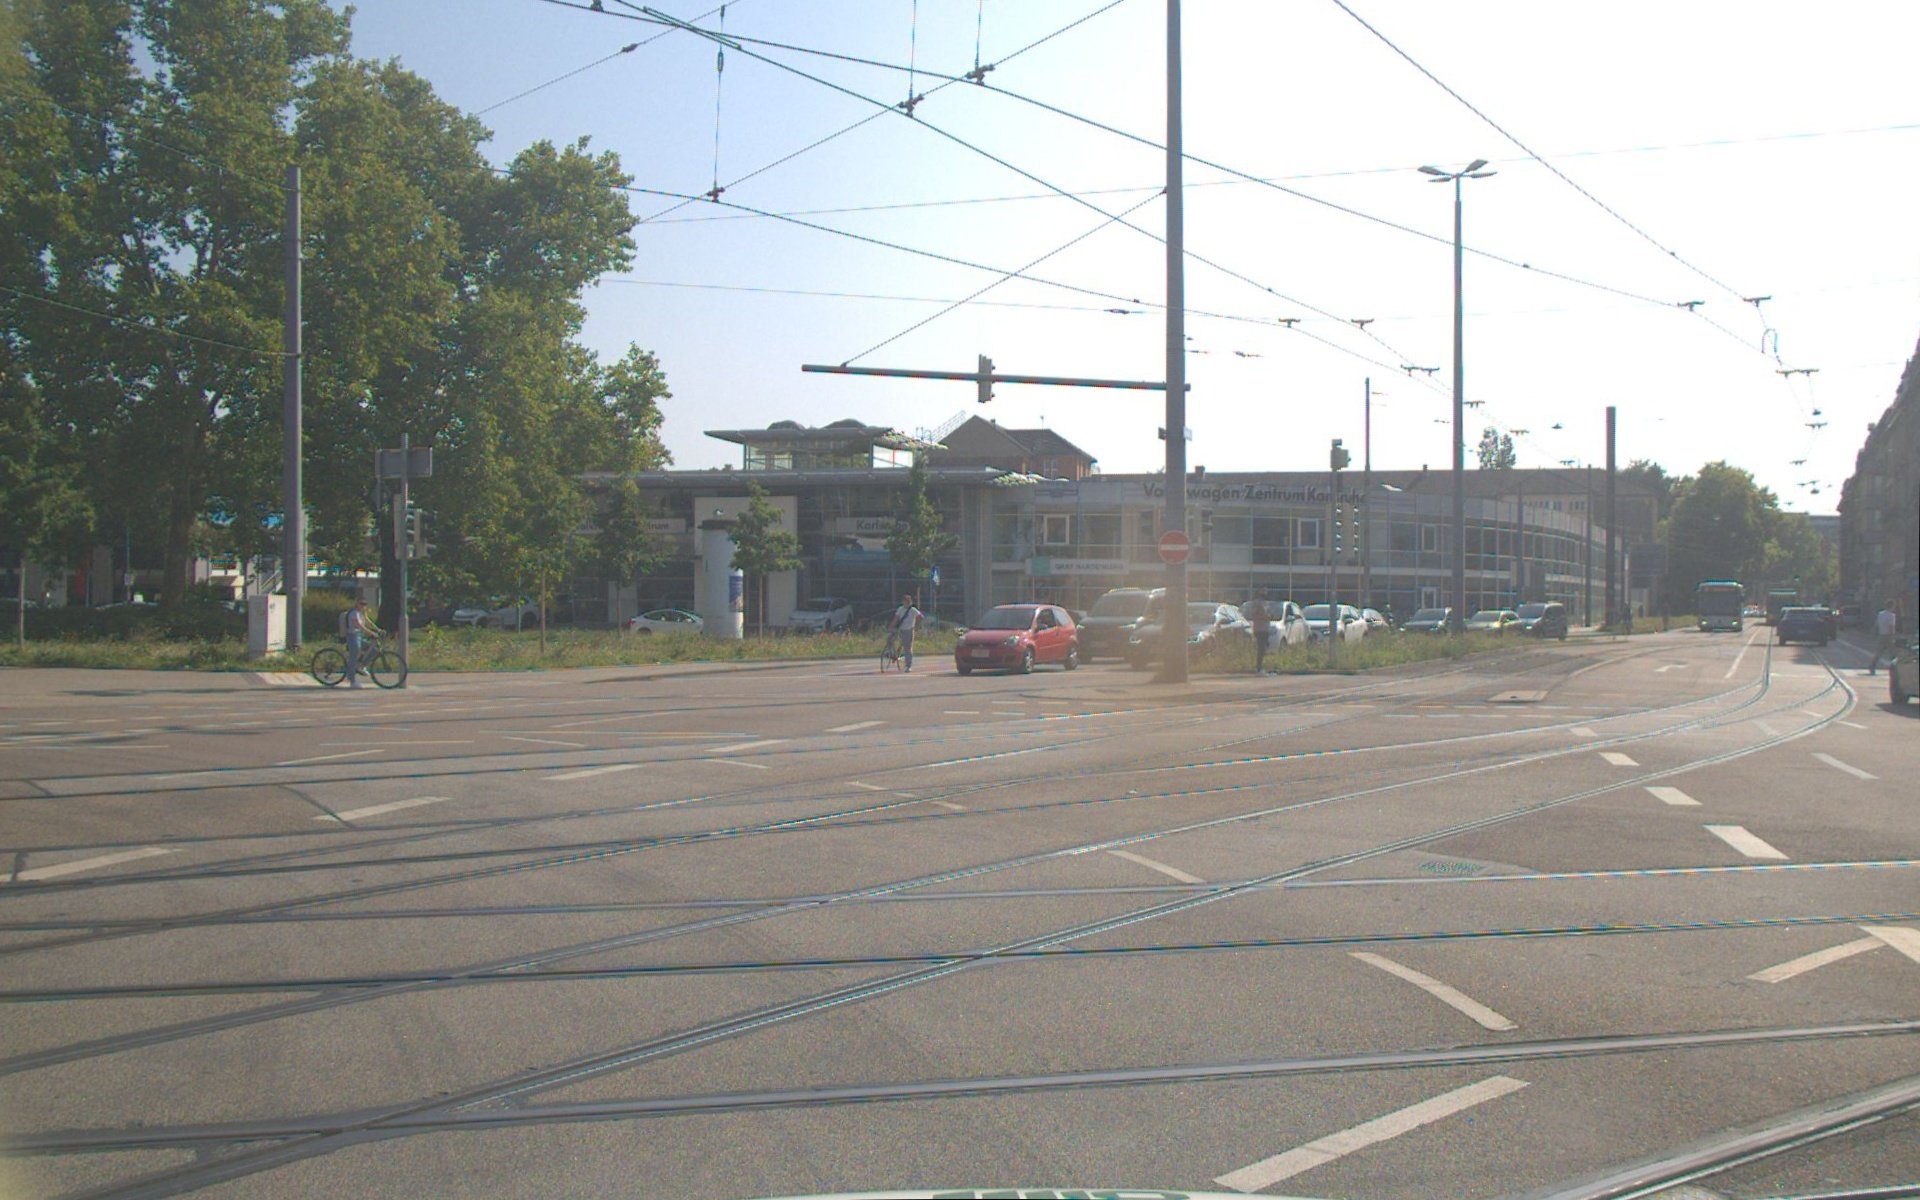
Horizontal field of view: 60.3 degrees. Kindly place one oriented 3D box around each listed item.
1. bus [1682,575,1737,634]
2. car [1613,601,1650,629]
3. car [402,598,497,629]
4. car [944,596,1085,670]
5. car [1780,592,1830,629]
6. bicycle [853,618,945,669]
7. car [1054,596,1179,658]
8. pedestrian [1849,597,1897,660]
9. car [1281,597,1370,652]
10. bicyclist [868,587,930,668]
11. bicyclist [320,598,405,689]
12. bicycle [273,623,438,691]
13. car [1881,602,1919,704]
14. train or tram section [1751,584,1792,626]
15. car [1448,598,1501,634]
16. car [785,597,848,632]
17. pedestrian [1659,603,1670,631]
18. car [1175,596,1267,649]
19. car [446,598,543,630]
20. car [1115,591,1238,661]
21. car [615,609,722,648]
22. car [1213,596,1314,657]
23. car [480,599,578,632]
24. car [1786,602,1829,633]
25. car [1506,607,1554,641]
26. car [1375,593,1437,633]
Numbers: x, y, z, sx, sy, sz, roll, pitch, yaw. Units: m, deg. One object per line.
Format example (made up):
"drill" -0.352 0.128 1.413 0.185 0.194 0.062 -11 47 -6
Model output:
"bus" 50.492 0.252 111.757 2.861 3.682 16.742 0 0 23
"car" 37.932 0.852 93.386 1.583 1.501 3.996 -2 -1 27
"car" -26.351 0.690 85.471 1.675 1.549 4.487 0 0 42
"car" 1.255 0.691 36.325 1.582 1.501 3.997 -2 -1 26
"car" 35.094 0.404 68.737 1.790 1.453 4.407 0 0 27
"bicycle" -1.344 0.959 37.232 0.939 1.075 2.605 0 0 27
"car" 4.118 0.678 42.963 1.922 1.501 3.997 -2 -1 26
"pedestrian" 22.214 0.682 40.270 0.762 1.529 0.710 0 0 -4
"car" 10.736 0.691 48.438 1.583 1.501 3.996 -2 -1 27
"bicyclist" -1.371 0.606 37.173 0.939 1.779 1.165 0 0 27
"bicyclist" -10.666 0.764 29.542 1.139 1.554 0.960 2 0 -3
"bicycle" -10.762 1.006 29.532 2.548 1.075 0.960 3 0 -3
"car" 15.309 0.768 25.271 1.648 1.468 4.371 0 0 23
"train or tram section" 75.311 0.398 153.550 2.600 3.764 10.588 0 0 22
"car" 22.581 0.684 72.529 1.583 1.501 3.996 -2 -1 27
"car" -6.697 0.662 77.664 1.663 1.549 4.102 0 0 15
"pedestrian" 43.270 1.045 101.561 0.584 1.659 0.636 0 0 28
"car" 7.922 0.671 49.944 1.583 1.501 3.996 -2 -1 27
"car" -23.180 0.698 82.423 1.675 1.549 4.487 0 0 42
"car" 5.021 0.576 37.938 1.582 1.501 3.997 -2 -1 26
"car" -12.077 1.158 68.592 3.999 1.549 1.706 0 0 16
"car" 8.062 0.671 43.699 1.582 1.501 3.997 -2 -1 26
"car" -21.149 0.754 81.228 1.675 1.549 4.487 0 0 42
"car" 43.350 0.876 84.631 1.789 1.453 4.409 0 0 25
"car" 26.807 1.124 77.769 1.583 1.501 3.996 -2 -1 27
"car" 17.861 0.505 66.185 1.583 1.501 3.996 -2 -1 27
